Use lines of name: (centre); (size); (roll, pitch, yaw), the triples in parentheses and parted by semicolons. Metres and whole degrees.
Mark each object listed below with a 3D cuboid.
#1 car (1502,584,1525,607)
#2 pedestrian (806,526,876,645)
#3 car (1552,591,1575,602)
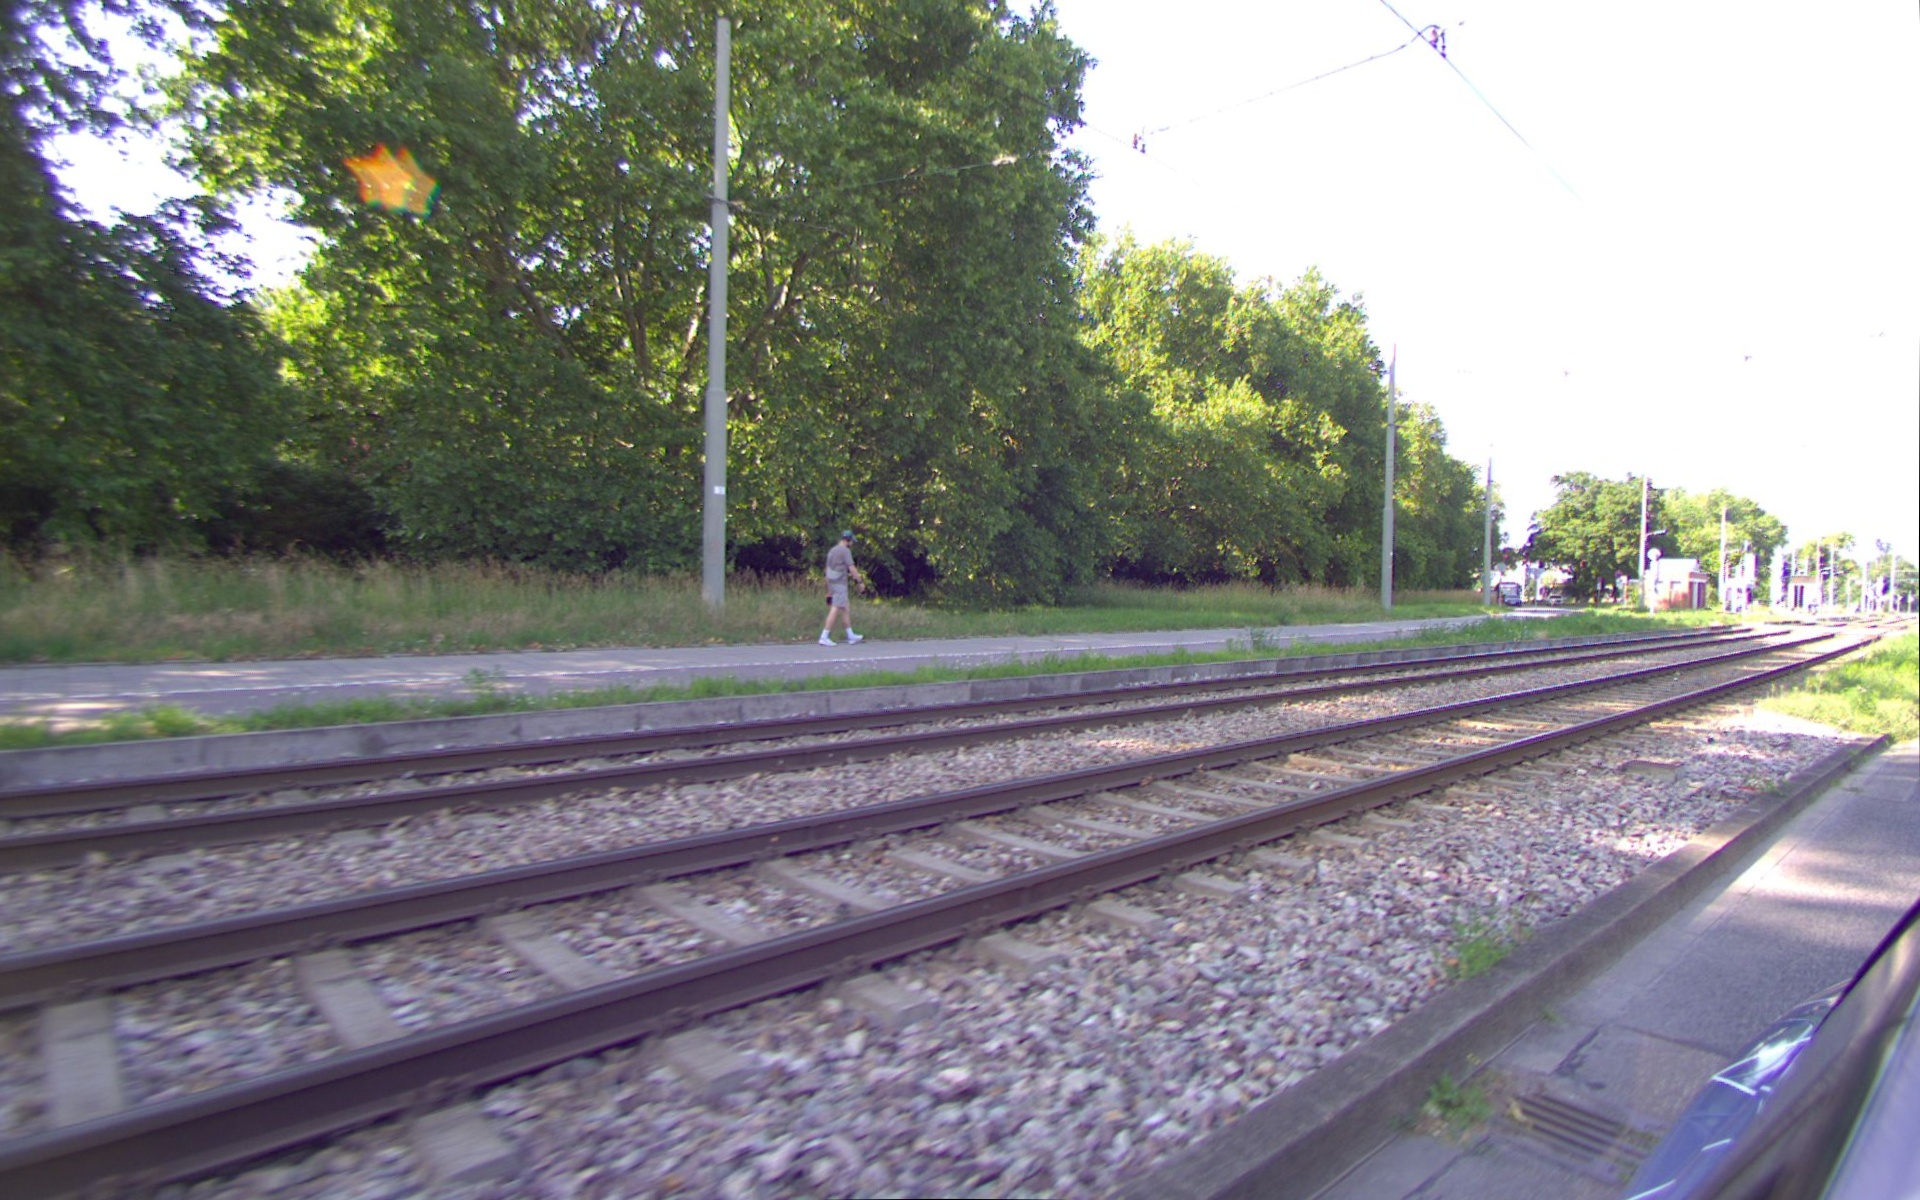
car: (61.808, -0.485, 113.048); (1.839, 2.553, 3.833); (0, 0, 22)
pedestrian: (-1.796, -0.219, 15.272); (0.868, 1.737, 0.502); (1, 1, -36)
car: (78.422, -0.481, 131.562); (1.785, 1.409, 3.760); (2, 2, 20)
